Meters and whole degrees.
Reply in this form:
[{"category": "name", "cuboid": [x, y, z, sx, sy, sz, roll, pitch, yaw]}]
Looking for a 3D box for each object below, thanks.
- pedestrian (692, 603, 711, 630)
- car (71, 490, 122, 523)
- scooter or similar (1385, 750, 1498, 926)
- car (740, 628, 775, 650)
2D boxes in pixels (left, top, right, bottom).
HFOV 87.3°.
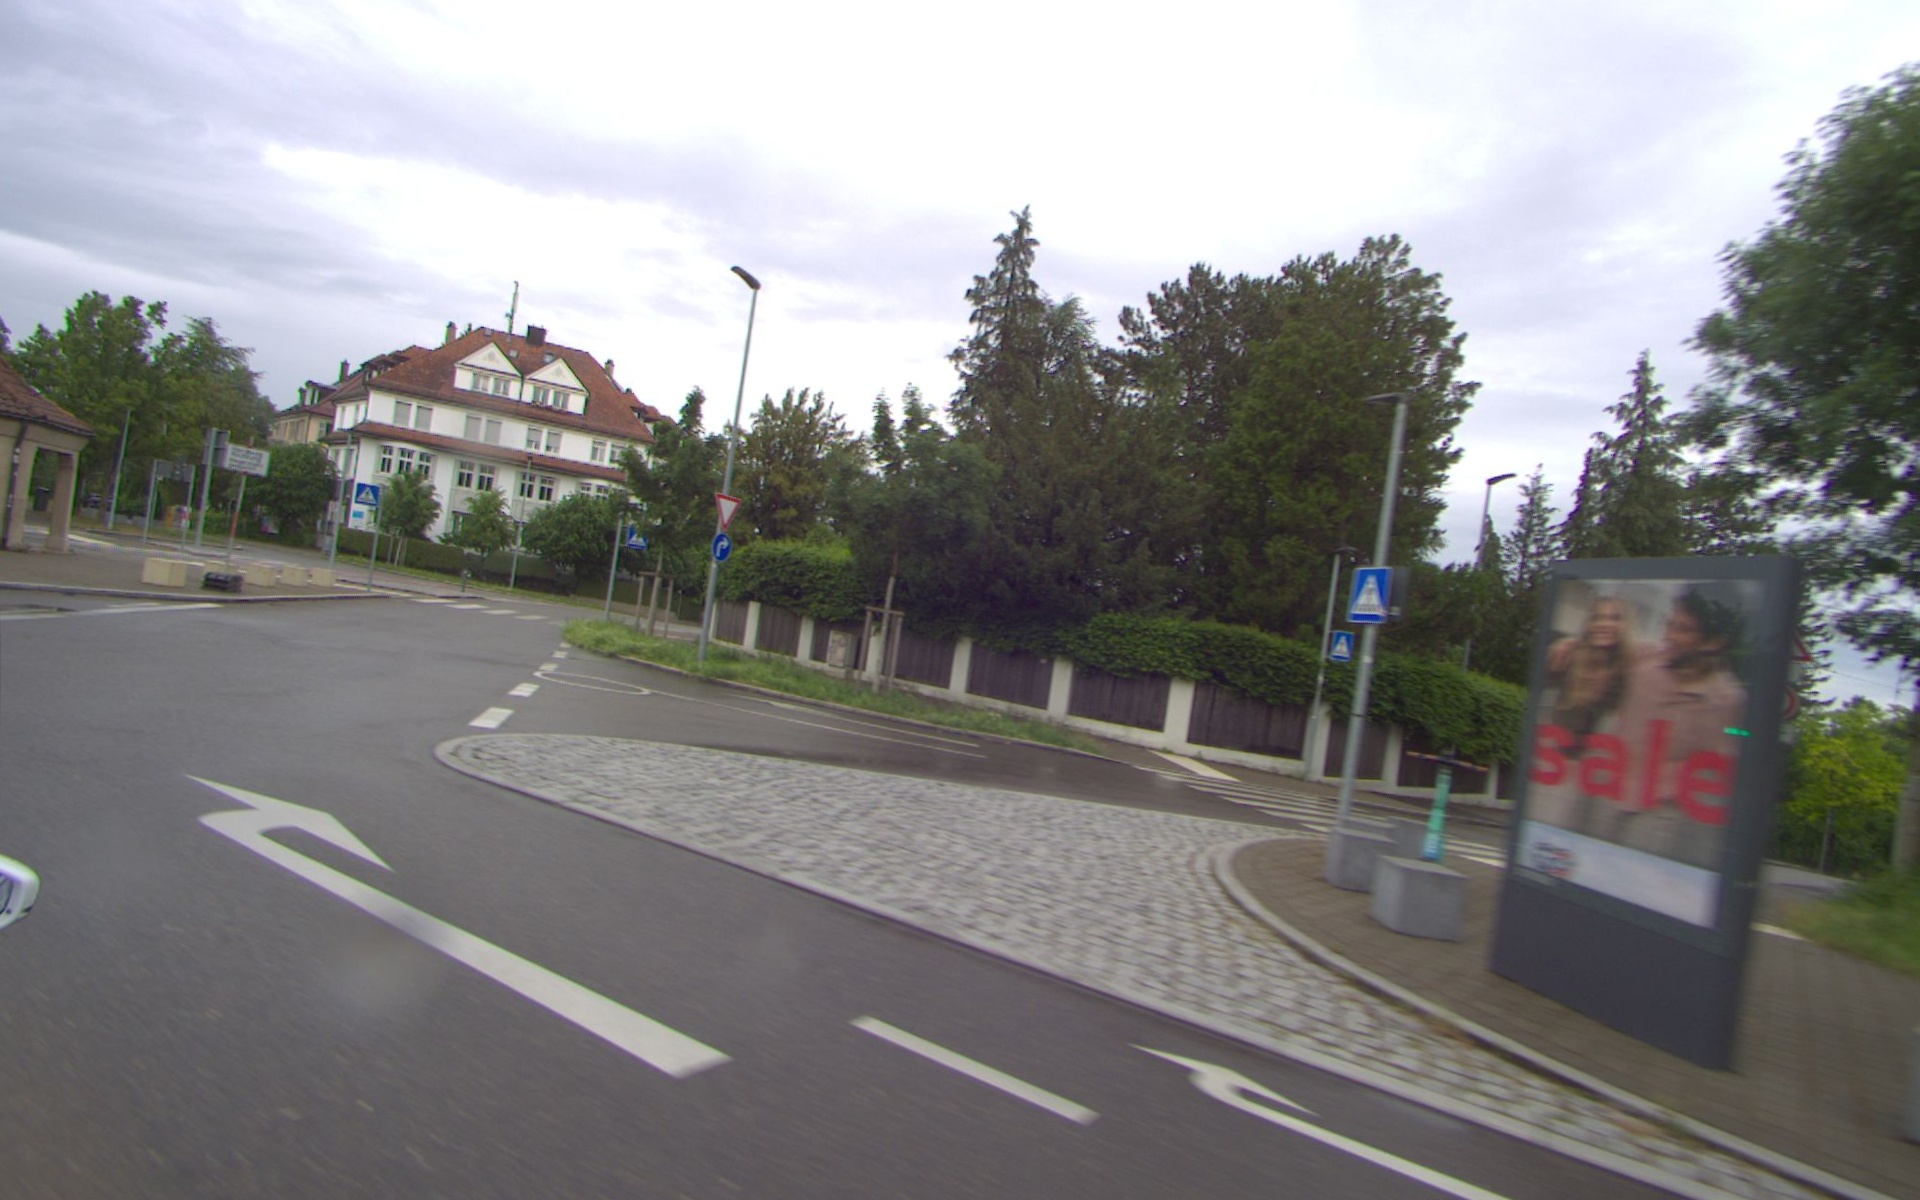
[{"category": "pedestrian", "cuboid": [-18.957, 1.226, 73.769, 0.806, 1.857, 0.696, 8, -2, 13]}, {"category": "car", "cuboid": [-67.673, -7.345, 78.807, 3.938, 2.037, 1.995, 7, -1, 36]}, {"category": "scooter or similar", "cuboid": [3.945, 1.891, 8.187, 0.516, 1.219, 1.351, 7, -4, 34]}, {"category": "car", "cuboid": [-16.561, 3.215, 82.578, 1.964, 1.496, 4.003, 8, -3, -1]}]
